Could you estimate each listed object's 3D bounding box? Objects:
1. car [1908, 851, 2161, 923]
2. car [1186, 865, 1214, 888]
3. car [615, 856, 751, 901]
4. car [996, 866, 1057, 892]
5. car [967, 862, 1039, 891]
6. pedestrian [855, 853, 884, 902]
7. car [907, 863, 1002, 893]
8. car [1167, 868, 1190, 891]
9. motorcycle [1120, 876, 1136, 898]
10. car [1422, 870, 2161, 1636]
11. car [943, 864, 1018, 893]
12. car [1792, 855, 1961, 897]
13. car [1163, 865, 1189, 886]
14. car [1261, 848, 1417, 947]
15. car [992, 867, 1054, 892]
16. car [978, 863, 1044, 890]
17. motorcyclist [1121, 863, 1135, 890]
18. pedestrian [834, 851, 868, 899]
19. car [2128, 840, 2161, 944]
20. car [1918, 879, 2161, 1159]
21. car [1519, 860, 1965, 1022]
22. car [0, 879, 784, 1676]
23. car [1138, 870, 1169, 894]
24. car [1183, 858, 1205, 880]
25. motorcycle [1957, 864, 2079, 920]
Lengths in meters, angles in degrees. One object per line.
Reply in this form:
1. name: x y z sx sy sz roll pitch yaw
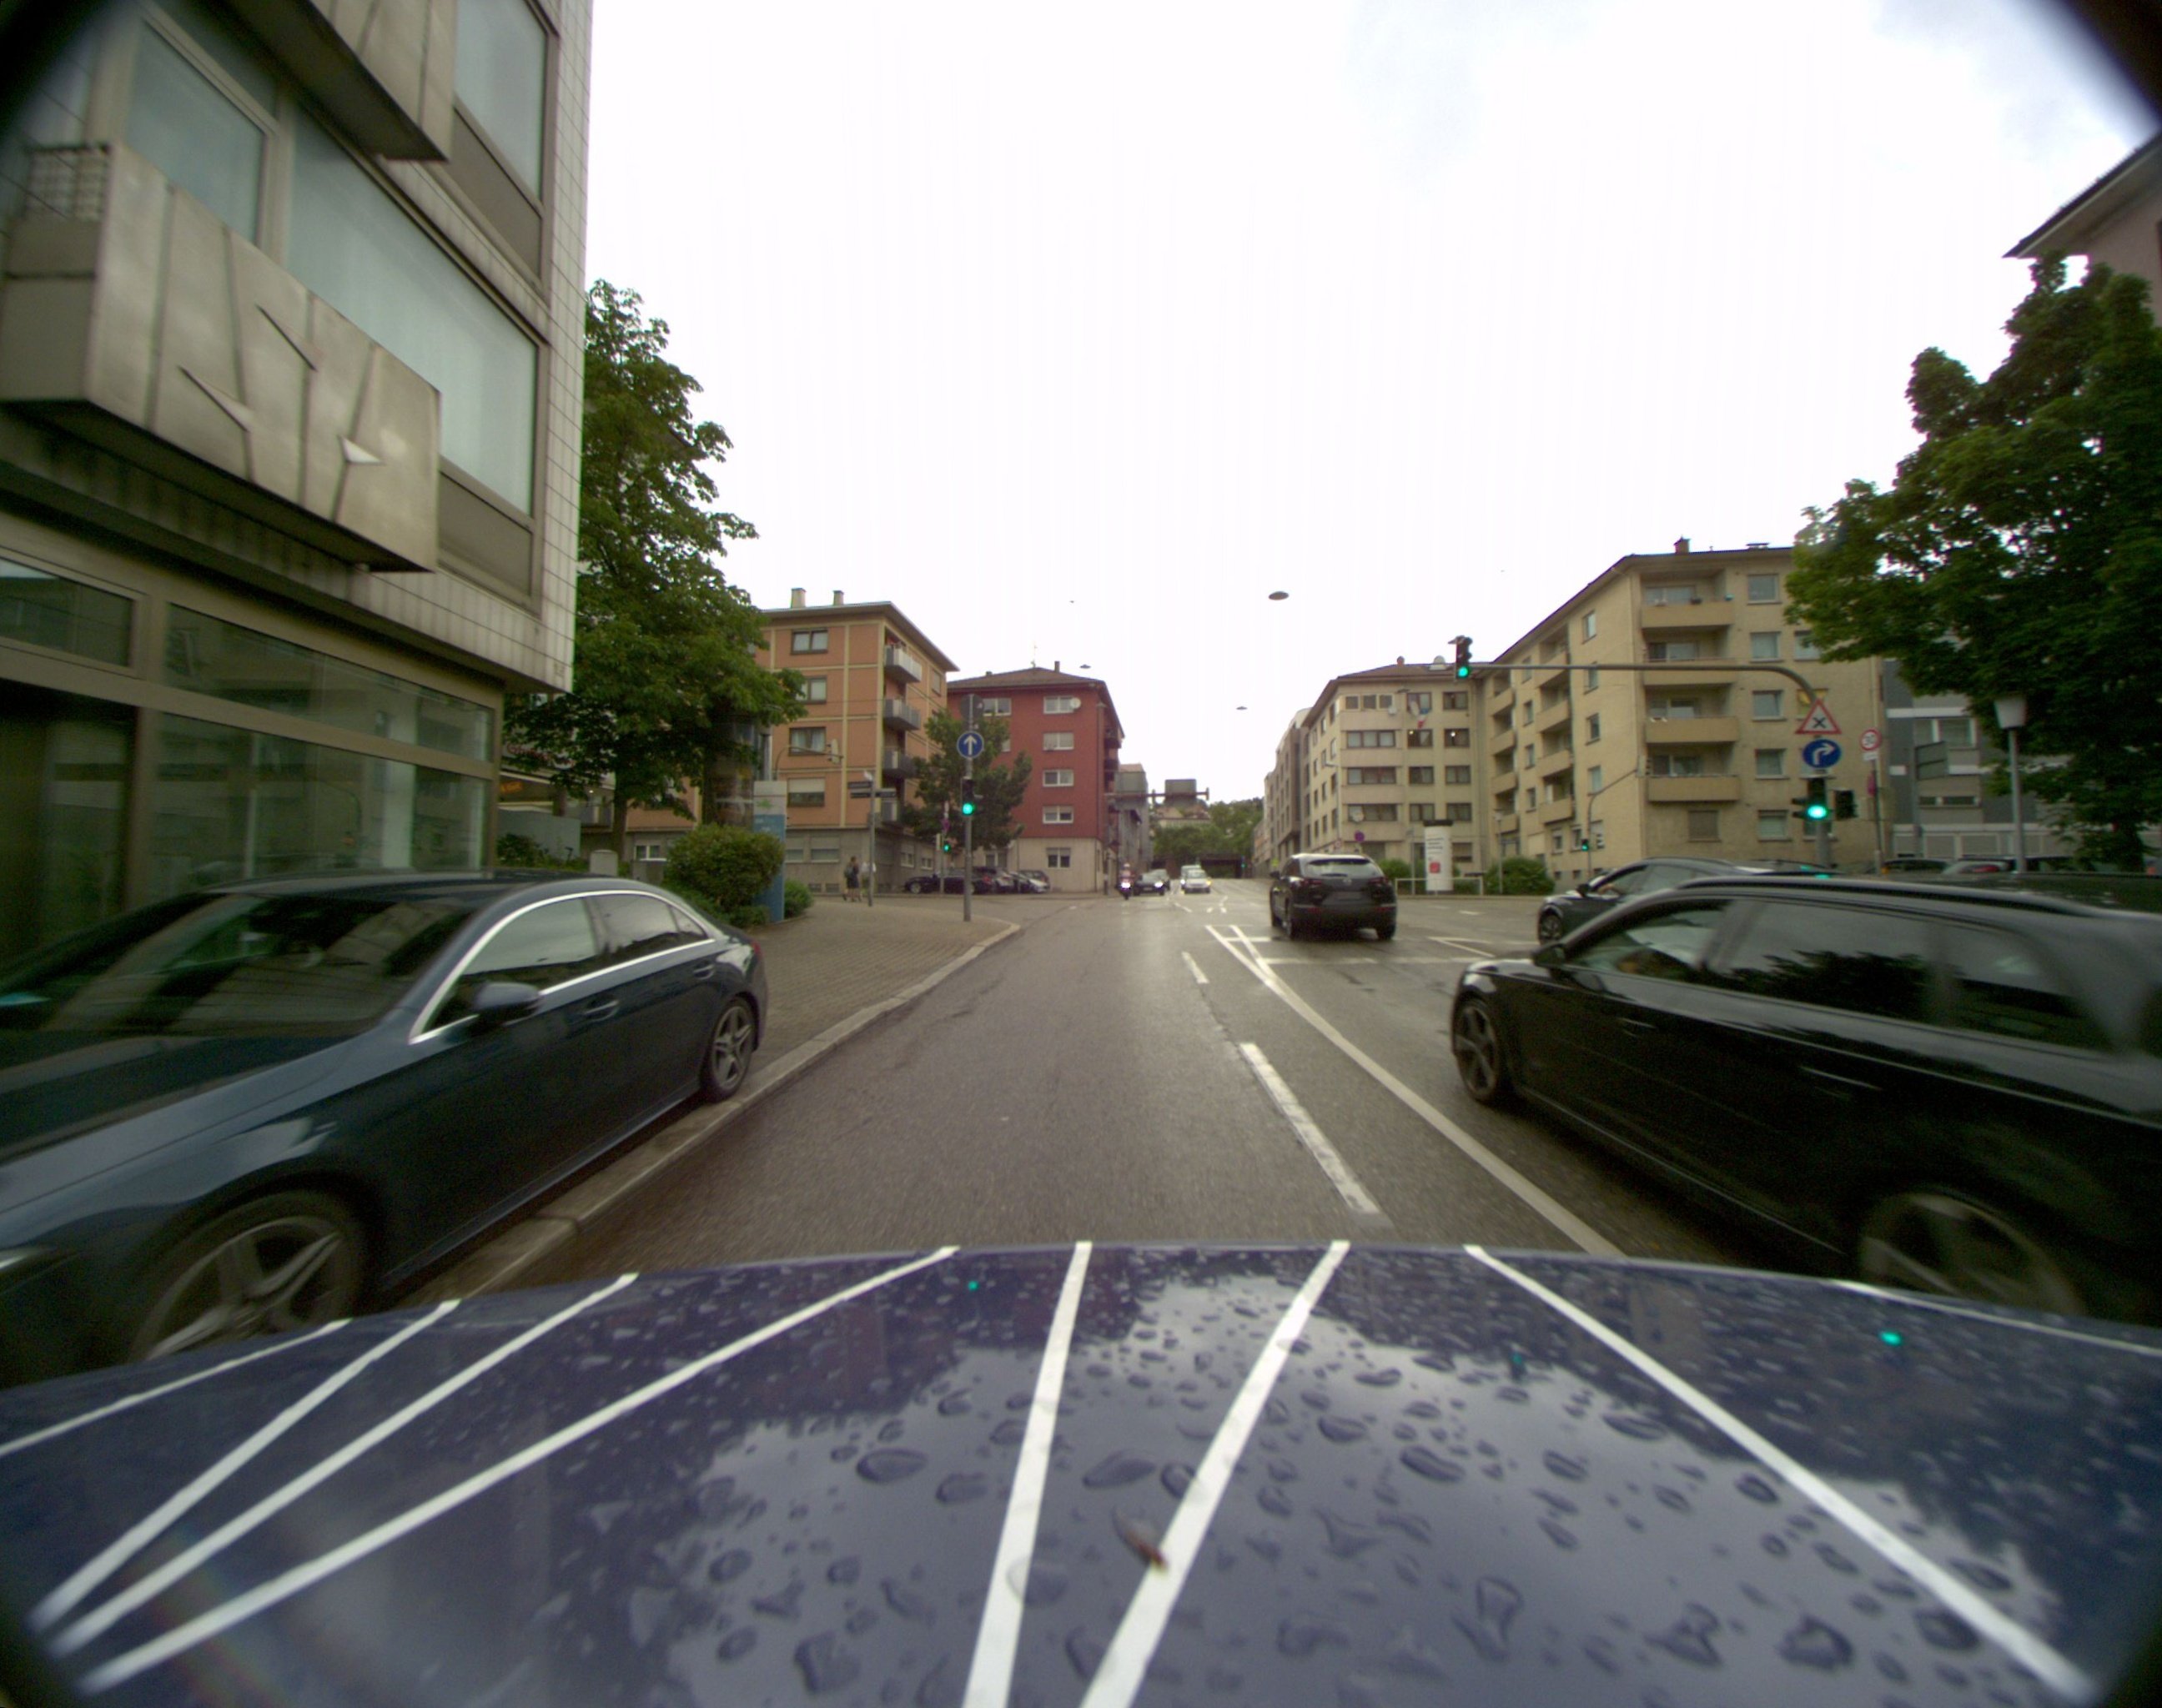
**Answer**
1. car: 20.684 0.675 16.188 3.995 1.352 1.739 -2 0 5
2. car: 8.357 1.576 53.335 1.838 1.545 4.004 -1 -2 9
3. car: -14.197 0.874 27.189 3.994 1.503 1.852 -1 -1 9
4. car: -3.987 1.845 55.540 3.991 1.694 2.004 -3 -4 20
5. car: -4.890 1.409 47.679 3.991 1.709 1.996 -1 -1 20
6. pedestrian: -7.420 0.835 26.704 0.760 1.636 0.709 4 -4 -27
7. car: -7.003 1.348 42.183 4.788 1.545 1.852 1 -2 10
8. car: 8.181 2.188 63.795 1.792 1.716 4.005 -2 -4 7
9. motorcycle: 2.178 1.509 35.394 0.637 0.921 2.365 -2 0 1
10. car: 3.158 0.835 3.094 1.811 1.406 4.379 0 1 4
11. car: -5.929 1.441 45.035 3.995 1.650 1.995 -1 -2 7
12. car: 28.875 0.832 27.686 4.067 1.471 1.735 0 -3 6
13. car: 7.251 1.640 57.927 1.838 1.545 4.004 -1 -2 9
14. car: 4.671 0.690 14.434 1.823 1.528 4.379 0 1 5
15. car: -4.033 1.815 52.825 3.990 1.571 1.678 -3 -4 26
16. car: -4.671 1.512 50.631 3.991 1.687 1.804 -1 -4 19
17. motorcyclist: 2.187 1.049 35.334 0.654 1.216 0.658 -1 0 2
18. pedestrian: -8.154 0.759 26.951 0.757 1.636 0.712 1 -4 27
19. car: 20.243 0.613 12.695 4.349 1.718 1.771 -1 2 -15
20. car: 6.787 0.895 3.255 1.810 1.533 4.381 0 -1 5
21. car: 7.287 0.842 9.145 1.823 1.469 4.381 0 -1 5
22. car: -2.995 0.913 3.045 1.768 1.384 4.378 2 1 1
23. car: 4.598 1.779 48.803 1.874 1.433 4.002 -1 -1 4
24. car: 10.872 1.452 72.820 1.941 1.903 4.862 -2 -3 10
25. motorcycle: 18.128 0.732 14.712 1.793 1.026 0.453 -1 -1 -1
